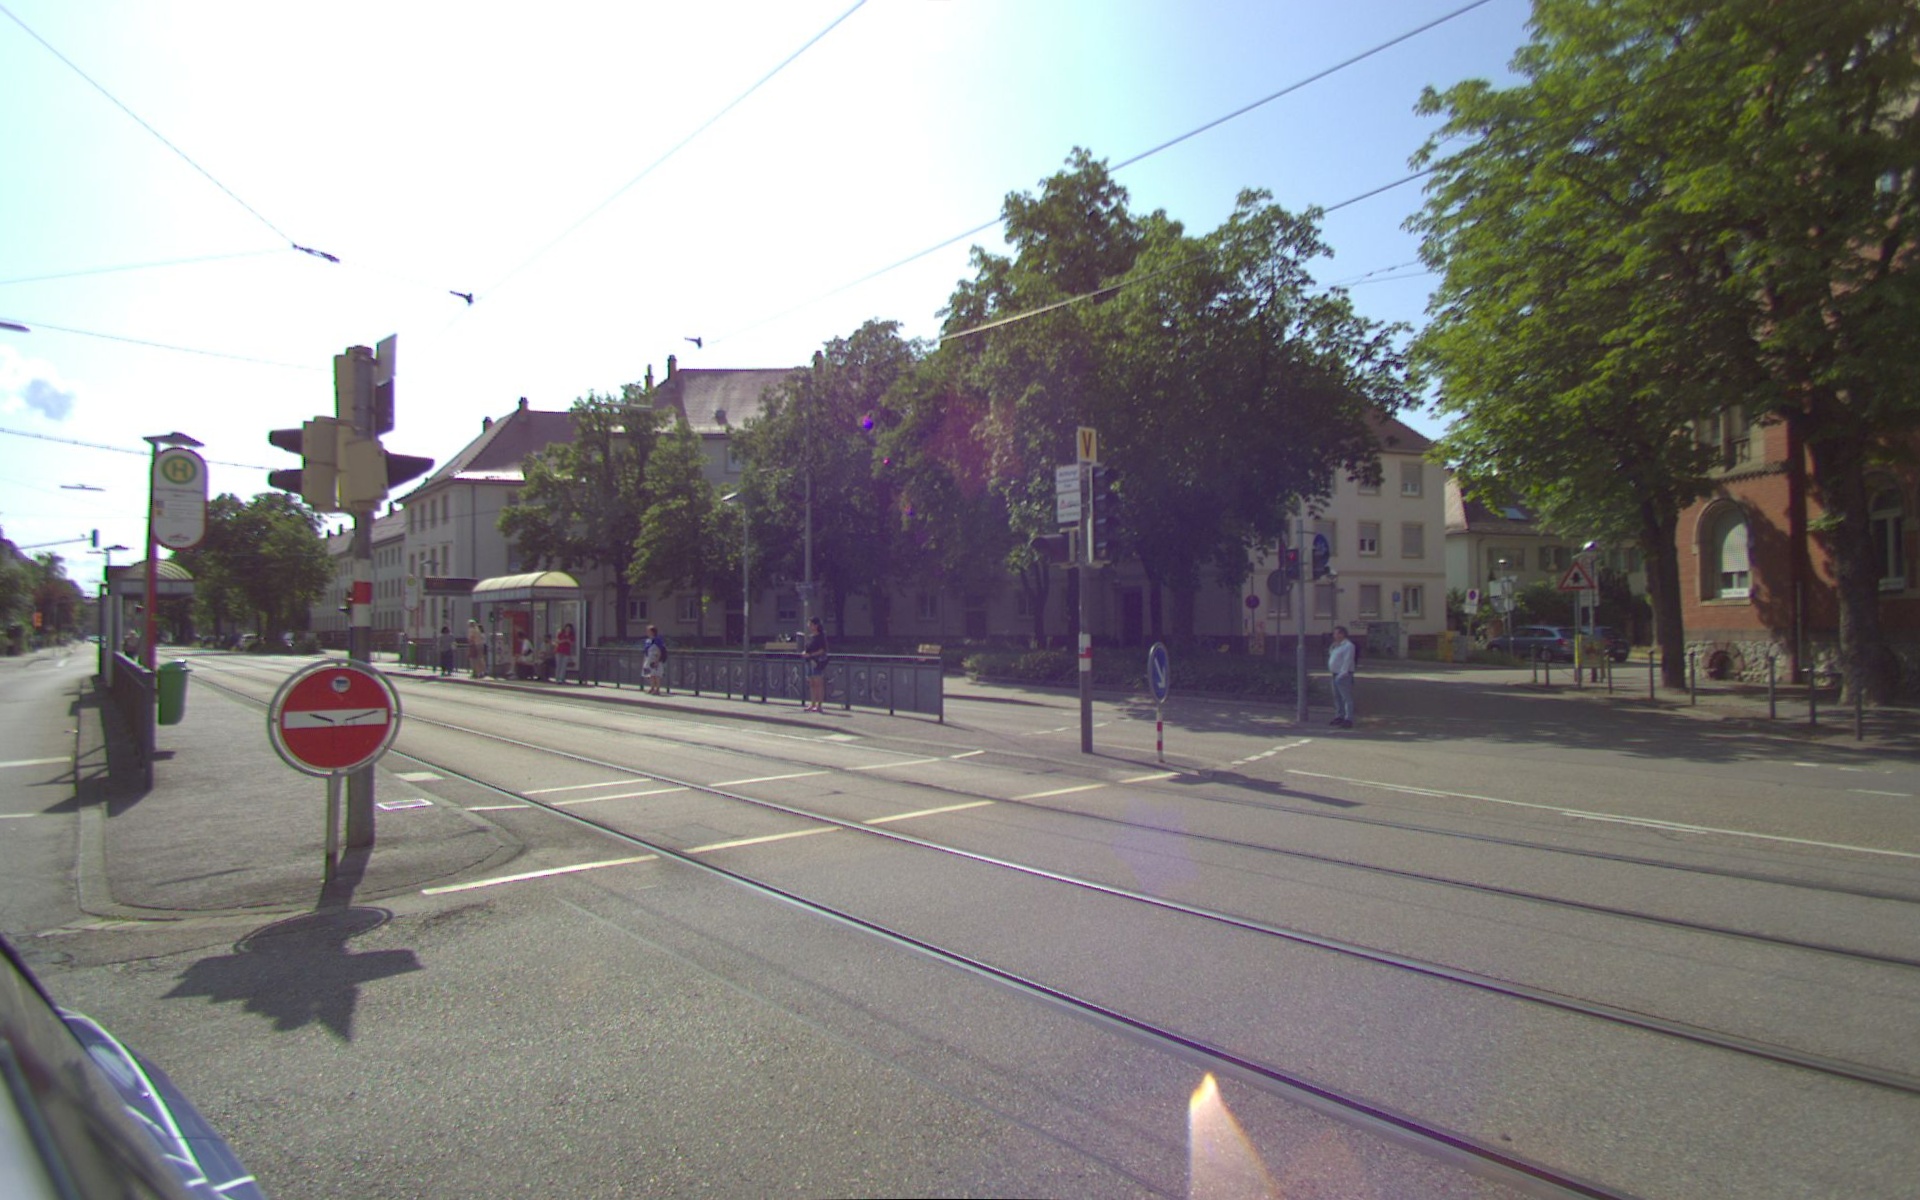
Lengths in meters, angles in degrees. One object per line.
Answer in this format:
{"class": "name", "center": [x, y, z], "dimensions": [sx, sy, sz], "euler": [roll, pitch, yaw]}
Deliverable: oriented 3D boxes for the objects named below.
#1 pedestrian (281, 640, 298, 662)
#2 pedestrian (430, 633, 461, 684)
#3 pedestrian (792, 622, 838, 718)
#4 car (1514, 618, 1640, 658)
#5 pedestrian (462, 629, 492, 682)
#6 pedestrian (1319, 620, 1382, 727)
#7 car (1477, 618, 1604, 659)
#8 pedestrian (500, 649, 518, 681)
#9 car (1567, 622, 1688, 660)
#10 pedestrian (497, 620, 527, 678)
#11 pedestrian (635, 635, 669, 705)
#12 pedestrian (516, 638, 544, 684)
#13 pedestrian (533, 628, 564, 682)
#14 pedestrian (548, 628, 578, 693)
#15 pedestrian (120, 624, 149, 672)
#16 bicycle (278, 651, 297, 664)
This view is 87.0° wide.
{"class": "pedestrian", "center": [-45.884, 3.514, 69.217], "dimensions": [0.807, 1.485, 0.794], "euler": [-2, -3, 44]}
{"class": "pedestrian", "center": [-16.648, 1.902, 32.750], "dimensions": [0.639, 1.619, 0.648], "euler": [-1, -4, 43]}
{"class": "pedestrian", "center": [-2.412, 1.152, 16.822], "dimensions": [0.530, 1.554, 0.517], "euler": [2, -5, -42]}
{"class": "car", "center": [27.033, 1.648, 44.509], "dimensions": [1.965, 1.688, 4.331], "euler": [0, -2, -25]}
{"class": "pedestrian", "center": [-15.454, 1.783, 32.378], "dimensions": [0.647, 1.654, 0.639], "euler": [5, -4, -41]}
{"class": "pedestrian", "center": [6.464, 1.193, 16.761], "dimensions": [0.847, 1.711, 0.460], "euler": [-2, 0, 37]}
{"class": "car", "center": [24.784, 1.633, 43.385], "dimensions": [1.965, 1.688, 4.331], "euler": [0, -2, -25]}
{"class": "pedestrian", "center": [-13.264, 1.911, 29.764], "dimensions": [0.346, 0.937, 0.335], "euler": [-1, -4, 43]}
{"class": "car", "center": [30.989, 1.881, 47.139], "dimensions": [1.965, 1.688, 4.330], "euler": [0, -2, -19]}
{"class": "pedestrian", "center": [-13.134, 1.430, 29.688], "dimensions": [0.678, 1.682, 0.491], "euler": [-1, -4, 43]}
{"class": "pedestrian", "center": [-6.787, 1.526, 22.274], "dimensions": [0.422, 1.515, 0.705], "euler": [3, -3, -41]}
{"class": "pedestrian", "center": [-12.794, 1.810, 30.086], "dimensions": [0.406, 1.347, 0.596], "euler": [-1, -4, 43]}
{"class": "pedestrian", "center": [-11.325, 1.504, 27.826], "dimensions": [0.522, 1.468, 0.693], "euler": [4, -4, -43]}
{"class": "pedestrian", "center": [-10.522, 1.592, 26.810], "dimensions": [0.466, 1.669, 0.747], "euler": [4, -4, -42]}
{"class": "pedestrian", "center": [-27.378, 1.579, 33.553], "dimensions": [0.692, 1.544, 0.558], "euler": [-1, 0, -42]}
{"class": "bicycle", "center": [-46.139, 3.951, 69.408], "dimensions": [1.619, 0.855, 0.744], "euler": [-3, -3, 45]}
